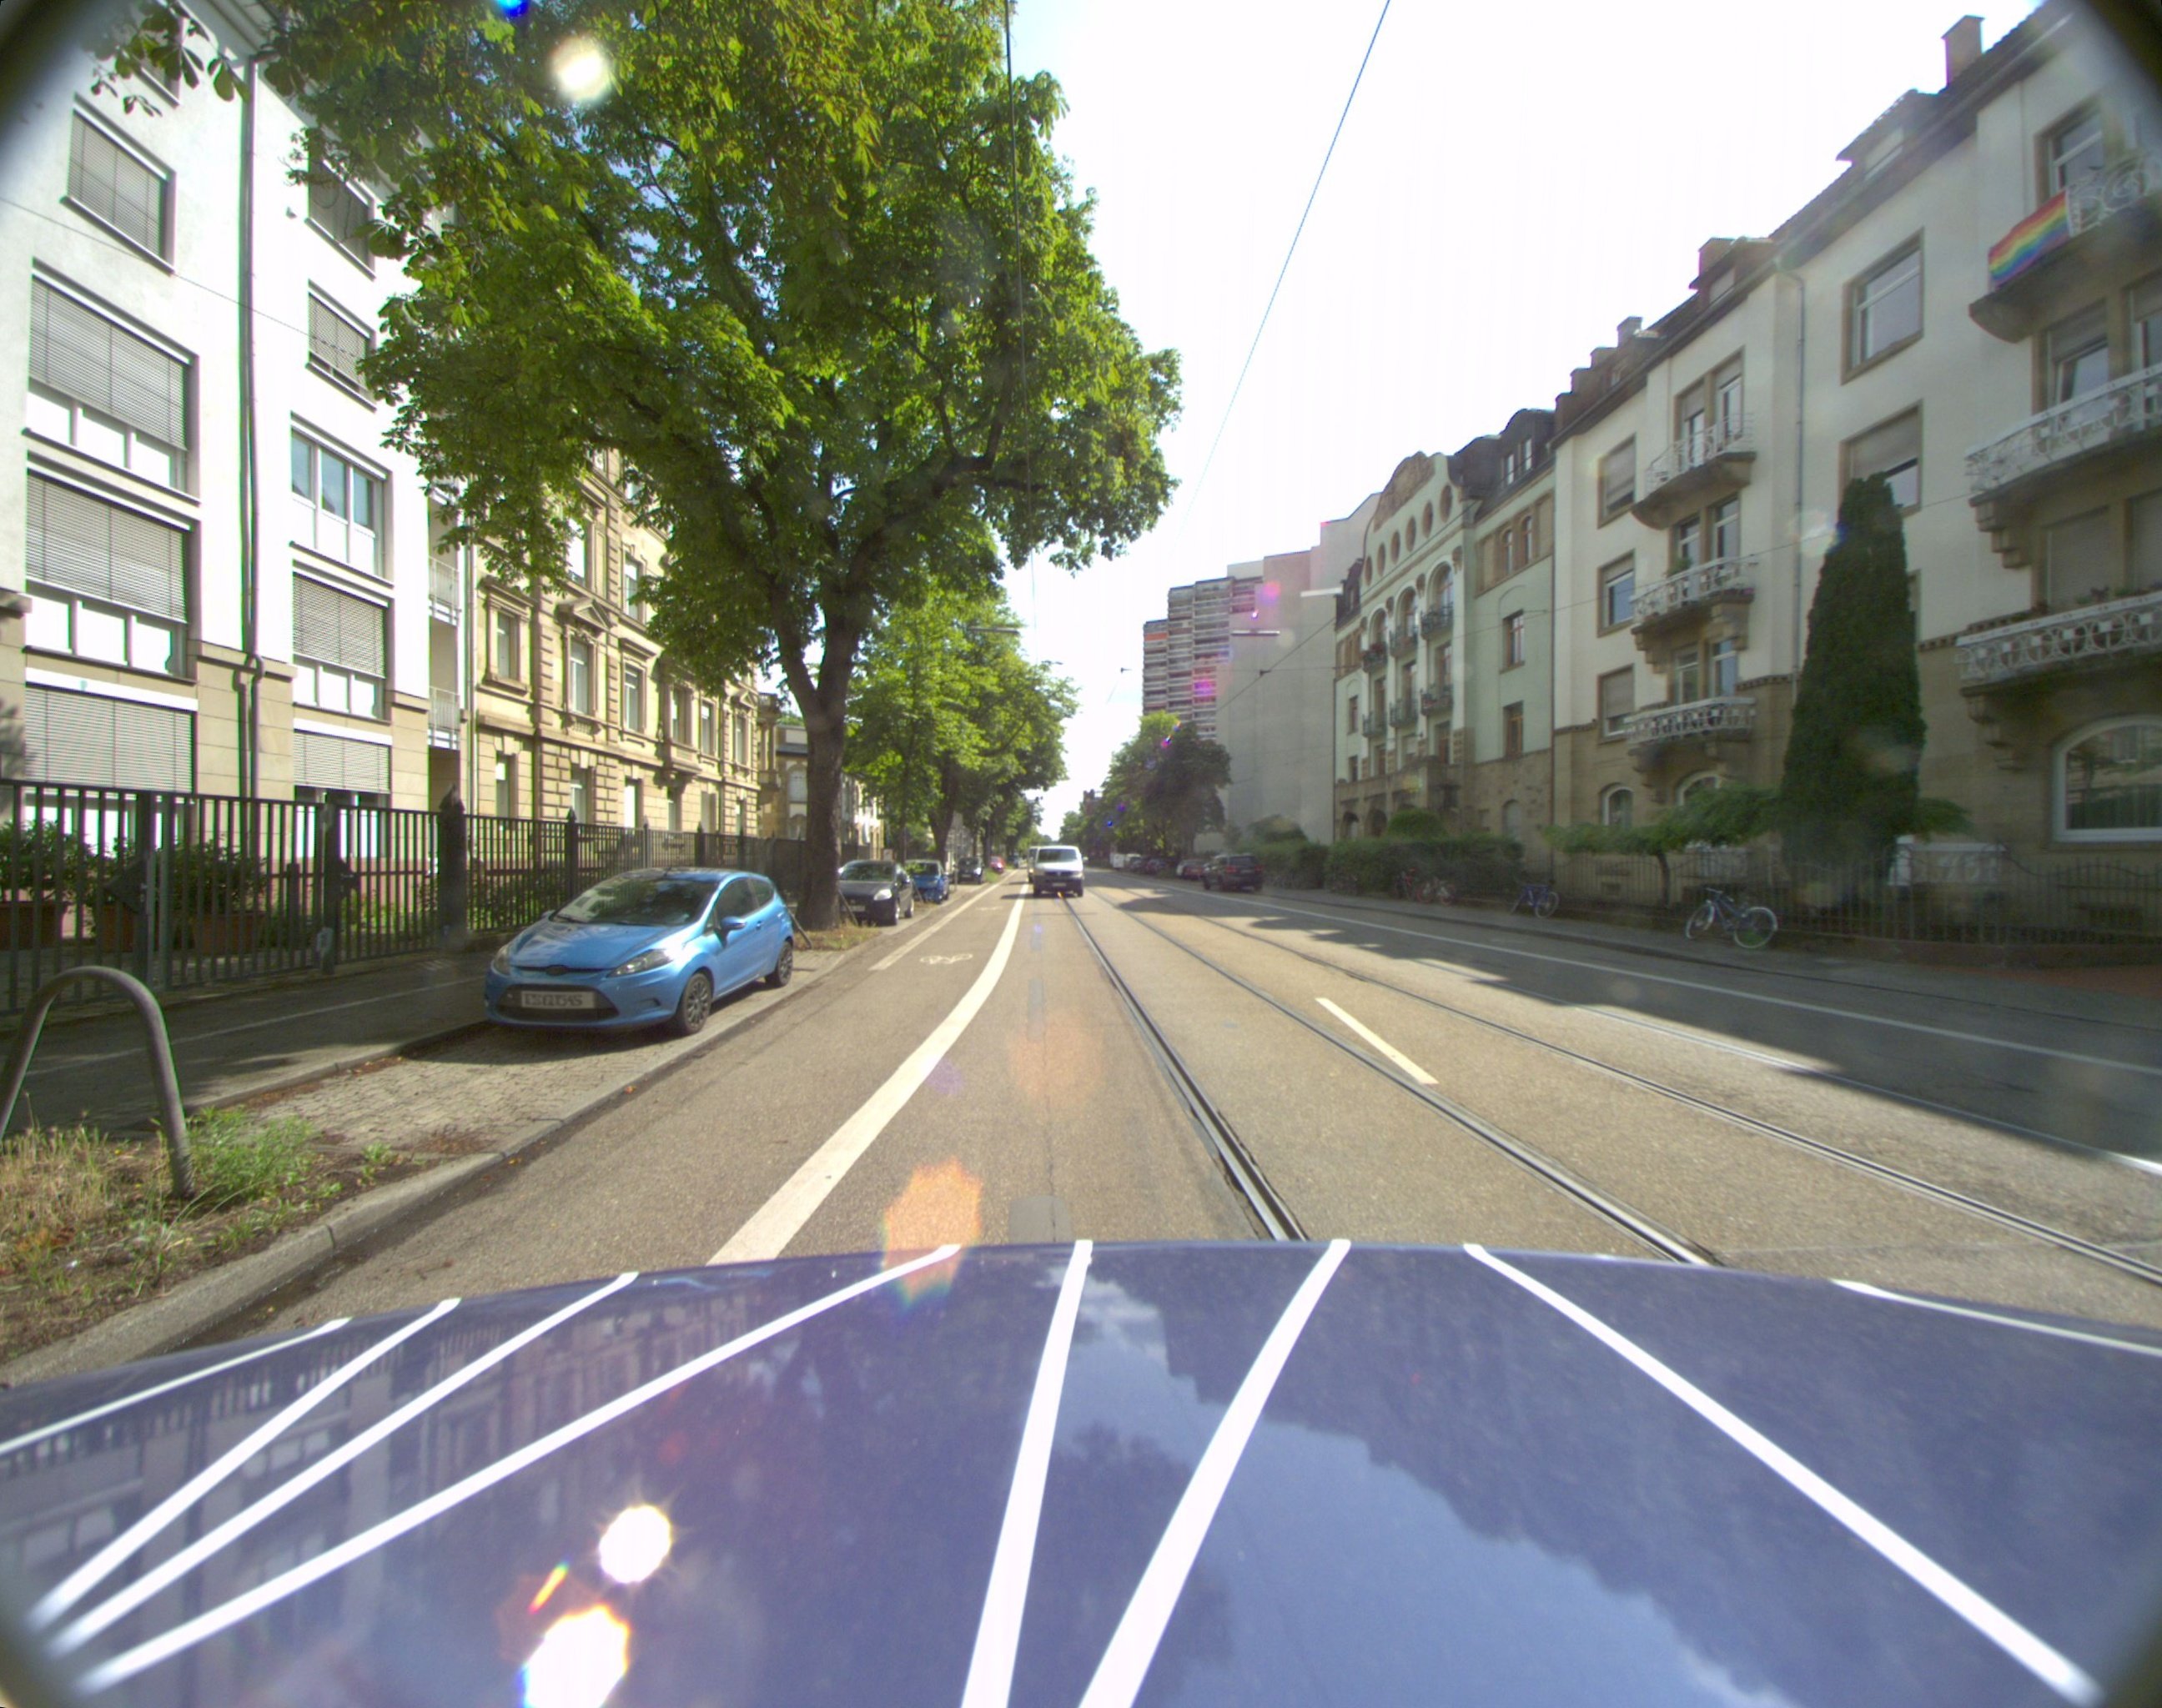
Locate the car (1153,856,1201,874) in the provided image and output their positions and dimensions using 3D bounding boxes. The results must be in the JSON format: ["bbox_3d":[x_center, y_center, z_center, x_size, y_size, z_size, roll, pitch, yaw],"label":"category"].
[{"bbox_3d":[8.184,0.904,64.556,3.994,1.499,2.001,0,0,7],"label":"car"}]

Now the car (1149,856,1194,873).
[{"bbox_3d":[8.070,0.912,67.711,3.994,1.499,2.001,0,0,7],"label":"car"}]

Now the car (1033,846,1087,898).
[{"bbox_3d":[-0.859,0.642,29.958,1.974,1.901,4.816,0,0,-2],"label":"car"}]

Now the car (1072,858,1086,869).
[{"bbox_3d":[-0.286,1.274,108.372,1.761,1.509,4.067,0,0,-4],"label":"car"}]

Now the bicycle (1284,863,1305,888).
[{"bbox_3d":[9.992,0.999,35.636,0.468,1.128,1.786,0,0,-1],"label":"bicycle"}]

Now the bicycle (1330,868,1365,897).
[{"bbox_3d":[9.982,1.055,28.526,0.605,0.990,1.980,0,0,-1],"label":"bicycle"}]

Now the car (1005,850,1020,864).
[{"bbox_3d":[-8.302,0.379,92.513,1.744,1.564,3.928,3,0,-4],"label":"car"}]

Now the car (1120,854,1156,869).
[{"bbox_3d":[6.404,0.793,85.090,3.994,1.672,2.001,0,0,7],"label":"car"}]

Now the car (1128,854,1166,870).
[{"bbox_3d":[7.009,0.820,80.667,3.994,1.672,2.001,0,0,7],"label":"car"}]

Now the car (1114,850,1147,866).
[{"bbox_3d":[5.955,0.445,90.921,1.994,1.740,4.008,-1,1,41],"label":"car"}]

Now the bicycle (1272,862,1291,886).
[{"bbox_3d":[9.900,0.976,37.578,0.468,1.128,1.786,0,0,-1],"label":"bicycle"}]

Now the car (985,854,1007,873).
[{"bbox_3d":[-7.610,0.822,67.956,1.744,1.564,3.928,3,0,-4],"label":"car"}]

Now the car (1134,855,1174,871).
[{"bbox_3d":[7.444,0.907,77.196,3.994,1.499,2.001,0,0,7],"label":"car"}]

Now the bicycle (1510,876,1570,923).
[{"bbox_3d":[10.878,1.056,18.061,0.467,0.990,1.787,0,0,4],"label":"bicycle"}]

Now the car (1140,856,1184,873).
[{"bbox_3d":[7.555,0.944,70.827,3.994,1.499,2.001,0,0,7],"label":"car"}]

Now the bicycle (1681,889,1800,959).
[{"bbox_3d":[11.053,1.137,12.818,0.467,0.990,1.979,0,0,6],"label":"bicycle"}]

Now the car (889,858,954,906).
[{"bbox_3d":[-5.442,0.917,26.324,1.679,1.467,3.659,3,0,-4],"label":"car"}]

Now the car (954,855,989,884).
[{"bbox_3d":[-6.443,0.862,44.895,1.744,1.564,3.659,3,0,-4],"label":"car"}]

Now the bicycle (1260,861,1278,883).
[{"bbox_3d":[9.788,0.928,39.674,0.468,1.128,1.786,0,0,-1],"label":"bicycle"}]

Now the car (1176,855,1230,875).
[{"bbox_3d":[9.359,0.815,58.514,3.994,1.499,2.001,0,0,7],"label":"car"}]

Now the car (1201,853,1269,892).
[{"bbox_3d":[7.091,0.820,35.481,1.922,1.685,4.399,0,0,-5],"label":"car"}]

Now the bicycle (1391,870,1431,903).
[{"bbox_3d":[10.592,1.029,24.442,0.468,0.990,1.786,0,0,-1],"label":"bicycle"}]

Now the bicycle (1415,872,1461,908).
[{"bbox_3d":[10.564,1.038,22.544,0.468,0.990,1.786,0,0,-1],"label":"bicycle"}]

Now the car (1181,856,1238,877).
[{"bbox_3d":[9.242,0.902,54.965,3.994,1.499,2.001,0,0,7],"label":"car"}]

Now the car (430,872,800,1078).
[{"bbox_3d":[-4.339,1.003,7.817,1.647,1.467,3.660,3,0,-3],"label":"car"}]

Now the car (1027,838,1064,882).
[{"bbox_3d":[-2.171,0.326,46.721,2.147,2.568,4.816,0,0,-2],"label":"car"}]

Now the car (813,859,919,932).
[{"bbox_3d":[-4.989,0.911,18.112,1.679,1.467,3.659,3,0,-4],"label":"car"}]

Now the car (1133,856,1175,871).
[{"bbox_3d":[7.133,0.912,74.034,3.994,1.499,2.001,0,0,7],"label":"car"}]

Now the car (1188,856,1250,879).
[{"bbox_3d":[9.295,0.898,51.457,3.994,1.499,2.001,0,0,7],"label":"car"}]
